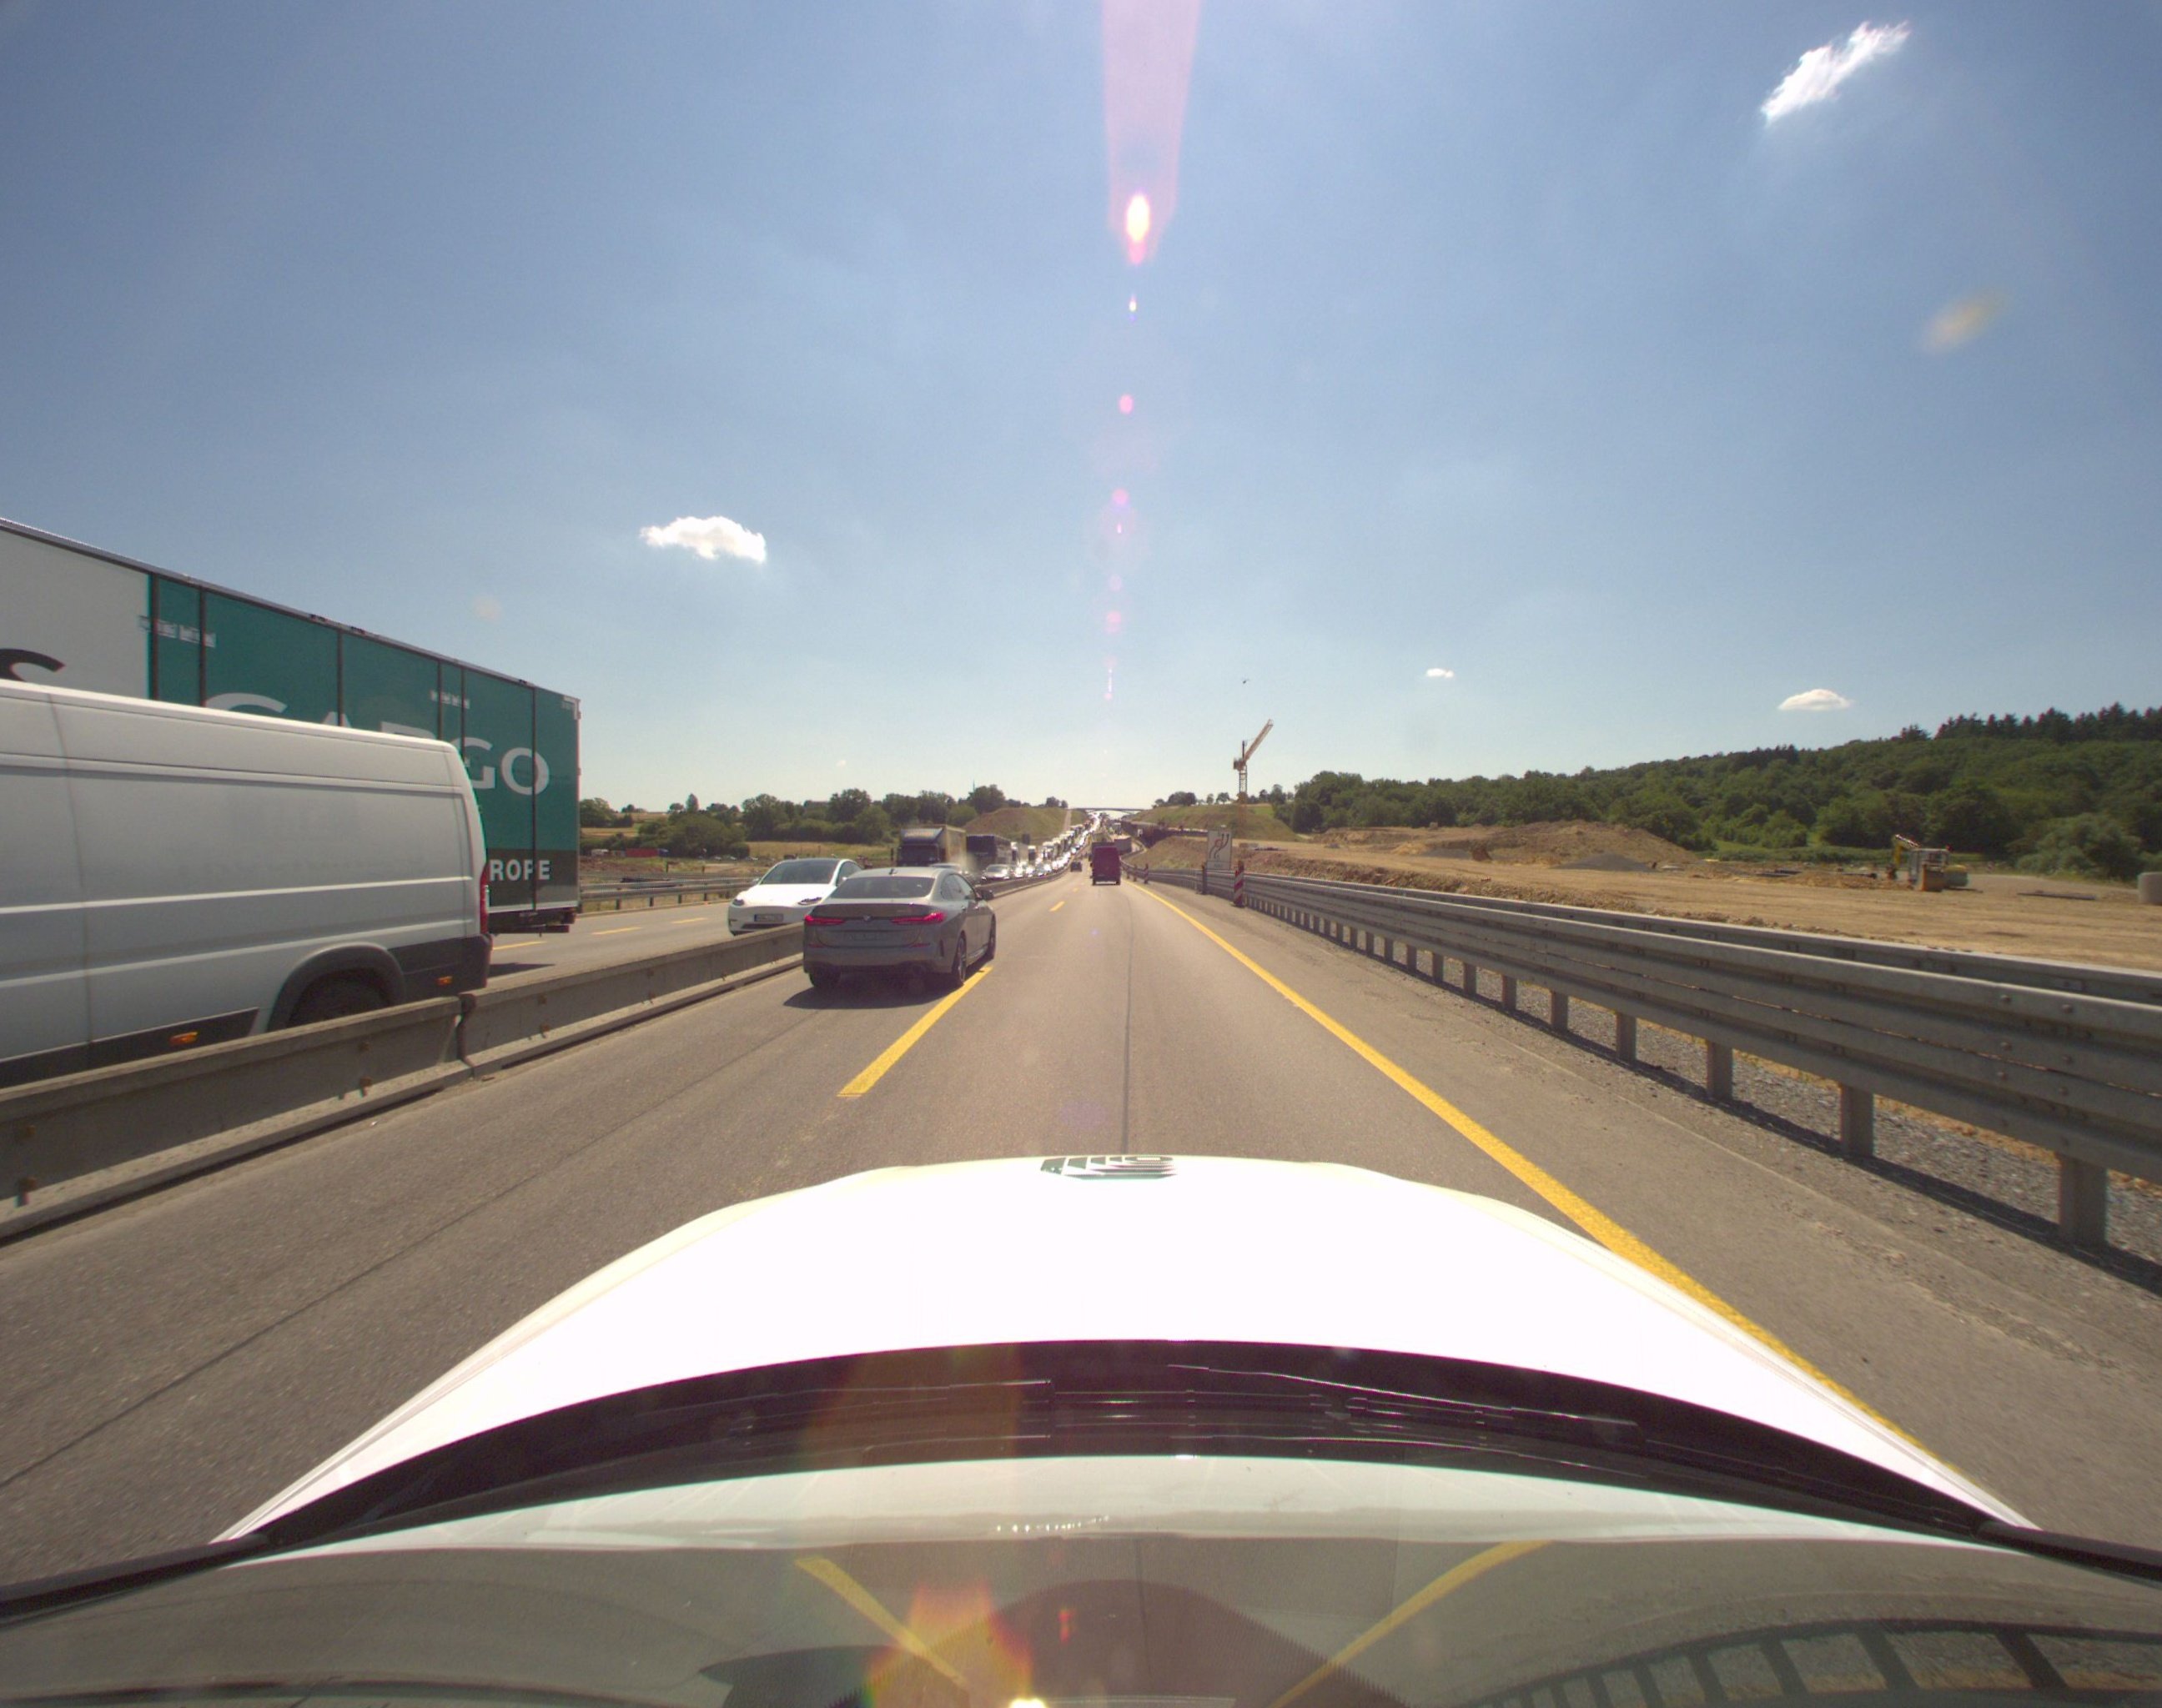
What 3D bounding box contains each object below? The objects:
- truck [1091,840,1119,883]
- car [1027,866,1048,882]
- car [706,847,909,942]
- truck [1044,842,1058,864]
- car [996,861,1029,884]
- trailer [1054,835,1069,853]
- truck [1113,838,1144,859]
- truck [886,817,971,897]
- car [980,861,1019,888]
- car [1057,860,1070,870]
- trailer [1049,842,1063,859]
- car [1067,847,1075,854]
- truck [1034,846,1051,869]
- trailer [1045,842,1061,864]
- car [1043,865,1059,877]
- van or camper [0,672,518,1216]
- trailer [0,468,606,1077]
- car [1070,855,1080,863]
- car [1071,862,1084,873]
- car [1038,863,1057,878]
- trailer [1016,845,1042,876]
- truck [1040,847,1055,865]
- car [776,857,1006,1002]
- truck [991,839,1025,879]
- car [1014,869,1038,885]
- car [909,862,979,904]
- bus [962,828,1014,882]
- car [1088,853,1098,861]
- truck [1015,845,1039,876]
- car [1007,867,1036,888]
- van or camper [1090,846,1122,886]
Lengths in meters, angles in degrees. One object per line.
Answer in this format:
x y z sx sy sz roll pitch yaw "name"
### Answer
2.868 0.796 95.573 3.008 4.692 6.937 -2 0 2 "truck"
-4.438 2.052 83.344 1.807 1.437 5.120 1 1 0 "car"
-5.622 0.722 17.808 2.363 1.726 5.783 0 1 1 "car"
-5.906 -0.232 161.111 2.542 4.231 6.531 -1 1 1 "truck"
-4.828 1.279 57.825 1.832 1.443 4.930 0 1 1 "car"
-5.155 -2.538 215.193 3.029 4.552 12.139 -1 1 3 "trailer"
11.876 -1.466 201.165 5.123 4.996 13.930 1 1 14 "truck"
-8.599 0.232 47.261 2.792 4.152 10.079 0 -1 1 "truck"
-4.956 1.221 49.872 1.853 1.494 4.903 -3 -1 0 "car"
-2.902 1.779 137.053 1.987 1.557 4.338 2 1 0 "car"
-5.793 -0.756 190.235 2.774 3.931 11.008 0 0 1 "trailer"
-2.535 -0.812 201.099 1.988 1.783 3.999 0 1 -1 "car"
-6.480 0.566 137.546 2.516 3.856 8.670 0 0 0 "truck"
-5.783 -0.239 167.829 2.585 4.257 12.470 0 0 1 "trailer"
-4.196 2.377 114.443 1.987 1.631 4.757 1 1 0 "car"
-6.095 0.409 3.863 2.211 2.511 6.535 0 1 1 "van or camper"
-9.238 -0.570 6.468 2.805 4.430 13.172 -1 0 2 "trailer"
-1.246 0.956 171.061 1.821 1.535 4.546 -2 0 0 "car"
-0.579 2.063 127.135 2.006 1.545 4.131 0 0 -1 "car"
-3.988 1.957 97.448 1.987 1.620 4.882 1 1 0 "car"
-7.423 0.895 118.971 2.977 4.208 13.941 0 0 0 "trailer"
-6.223 0.313 151.825 2.426 3.148 7.022 -1 1 -1 "truck"
-2.249 0.815 11.068 1.844 1.452 4.745 1 1 2 "car"
-7.867 0.518 88.823 3.087 4.198 6.701 0 0 0 "truck"
-4.879 2.031 73.220 1.827 1.423 4.682 -1 -1 0 "car"
-5.407 1.090 32.744 1.876 1.432 5.125 1 1 1 "car"
-7.942 0.004 71.330 2.730 4.263 14.477 0 1 1 "bus"
2.492 0.680 174.220 2.005 1.545 4.132 1 1 0 "car"
-7.365 0.878 111.534 2.969 4.185 5.871 0 -1 -1 "truck"
-4.737 1.860 65.870 1.911 1.423 5.091 0 1 1 "car"
1.723 0.798 57.447 2.023 2.744 4.514 0 0 -1 "van or camper"
